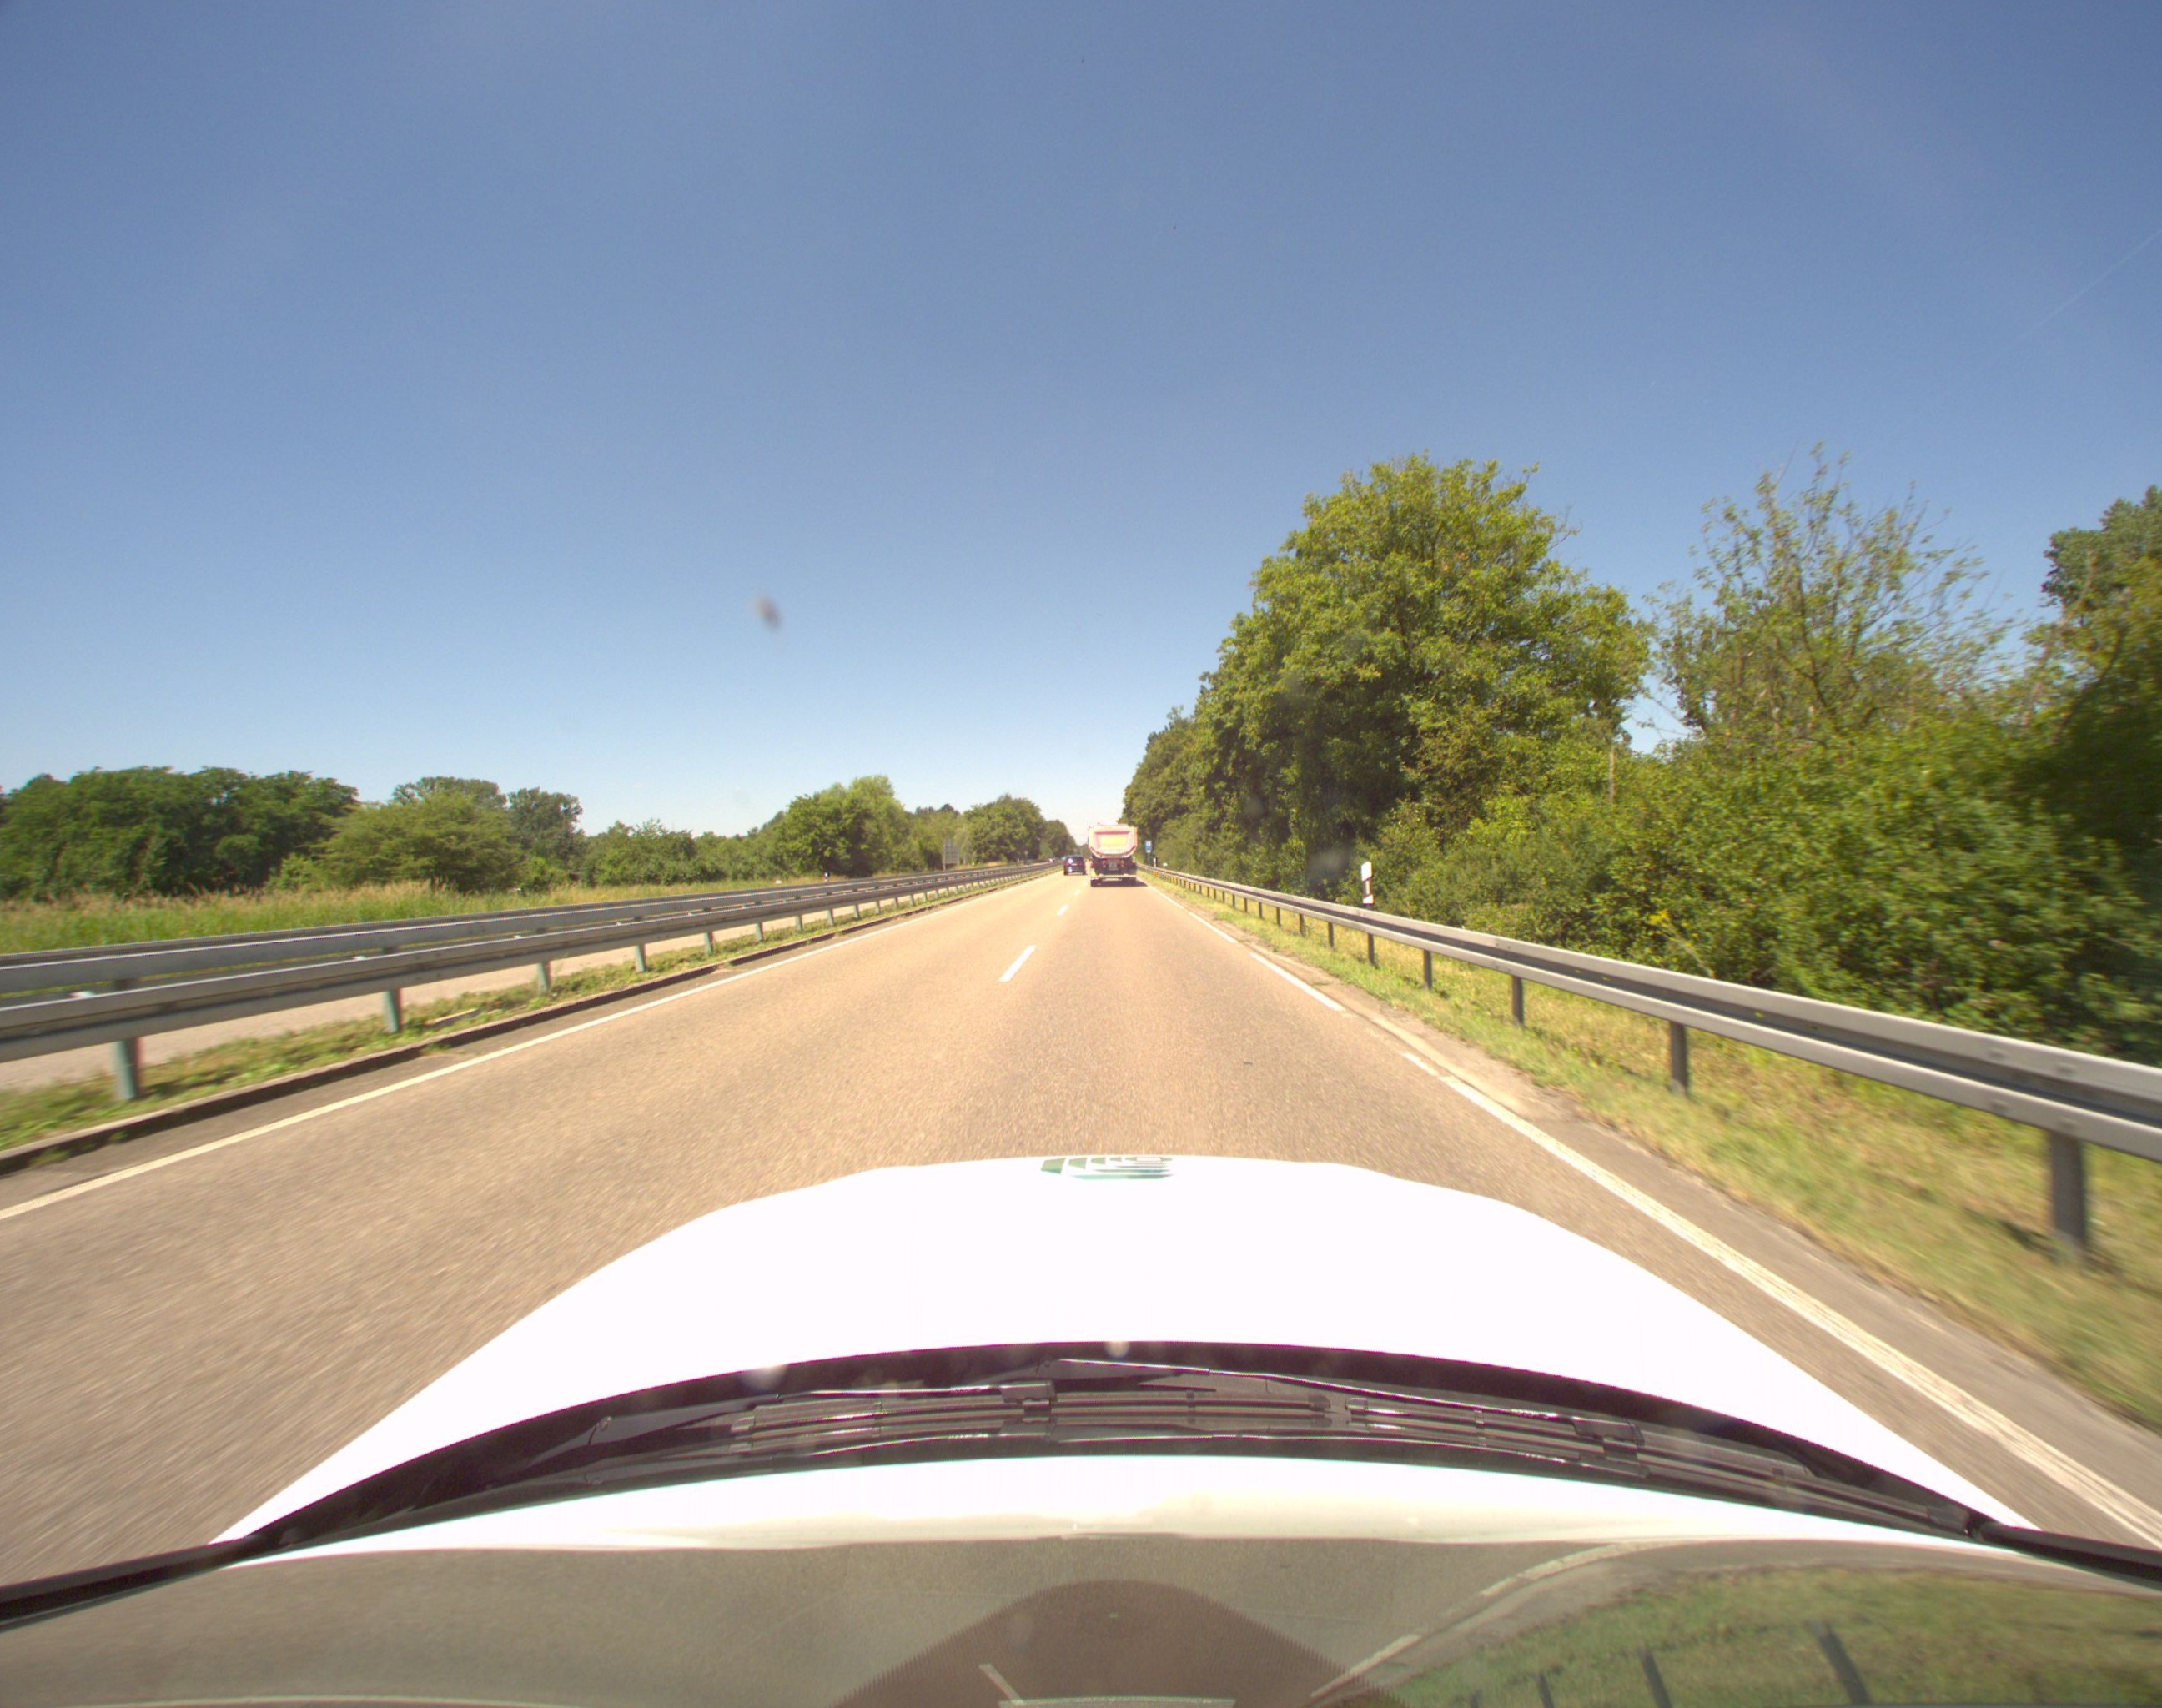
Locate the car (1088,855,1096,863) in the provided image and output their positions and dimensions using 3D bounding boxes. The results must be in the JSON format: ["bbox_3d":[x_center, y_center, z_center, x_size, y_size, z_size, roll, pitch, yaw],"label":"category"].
[{"bbox_3d":[2.444,1.163,185.339,1.851,1.718,4.000,-1,-2,1],"label":"car"}]

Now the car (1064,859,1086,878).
[{"bbox_3d":[-0.481,1.295,72.563,1.851,1.671,4.000,-1,-2,1],"label":"car"}]

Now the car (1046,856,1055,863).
[{"bbox_3d":[-7.575,1.380,204.159,1.771,1.620,4.510,-4,0,4],"label":"car"}]

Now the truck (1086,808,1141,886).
[{"bbox_3d":[1.782,-0.355,47.863,2.711,3.930,12.372,-1,0,1],"label":"truck"}]
